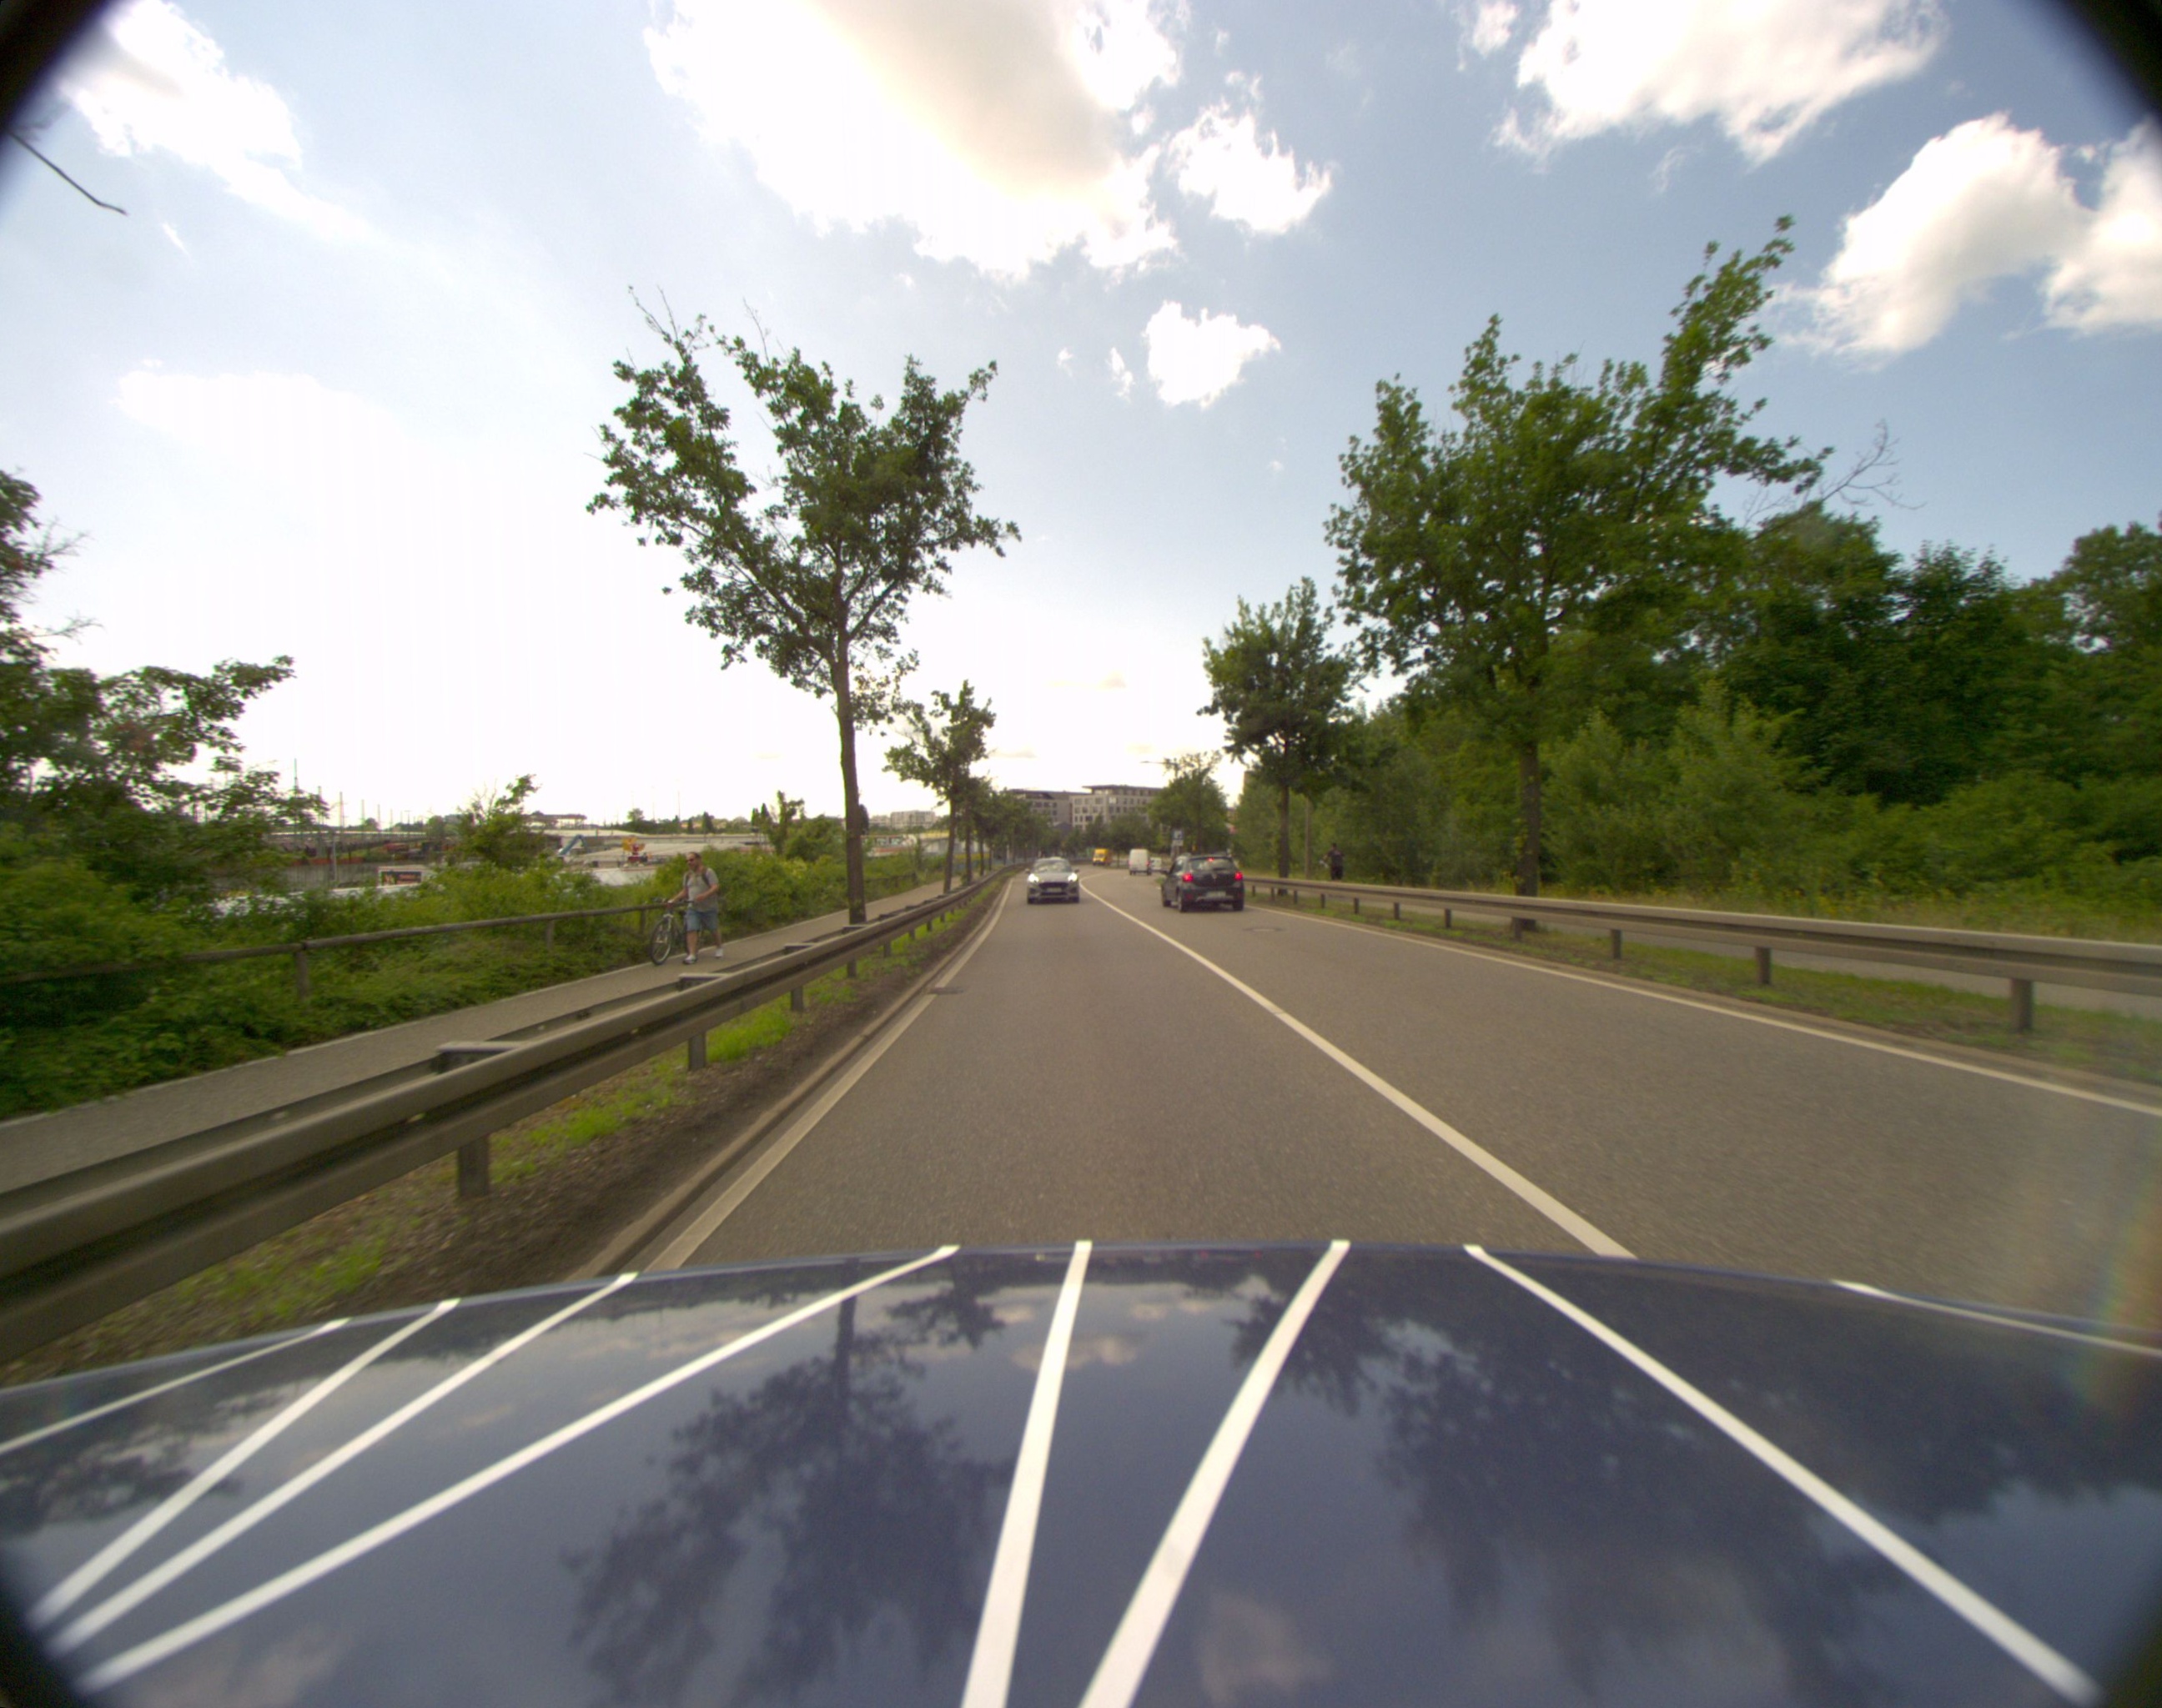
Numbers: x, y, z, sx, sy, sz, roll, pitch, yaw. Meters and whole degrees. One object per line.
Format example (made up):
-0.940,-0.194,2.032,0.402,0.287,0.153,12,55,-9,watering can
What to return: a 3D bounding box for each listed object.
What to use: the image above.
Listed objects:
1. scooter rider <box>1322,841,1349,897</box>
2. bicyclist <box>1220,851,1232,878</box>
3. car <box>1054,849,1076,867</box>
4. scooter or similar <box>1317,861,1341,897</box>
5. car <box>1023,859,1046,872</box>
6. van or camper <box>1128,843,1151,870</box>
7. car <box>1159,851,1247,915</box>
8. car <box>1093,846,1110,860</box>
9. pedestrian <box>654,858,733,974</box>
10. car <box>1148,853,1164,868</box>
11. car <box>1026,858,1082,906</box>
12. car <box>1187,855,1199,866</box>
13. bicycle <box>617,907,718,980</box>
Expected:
8.591,0.497,25.665,0.663,1.845,0.619,1,1,-3,scooter rider
8.121,0.582,42.563,0.486,1.544,0.880,1,1,-3,bicyclist
-1.898,0.508,91.908,1.997,2.002,4.002,3,1,8,car
8.546,0.858,26.190,0.637,1.200,0.559,1,0,-4,scooter or similar
-4.541,1.075,73.206,1.848,1.201,3.997,1,-1,-9,car
6.185,0.239,79.492,1.997,2.567,5.984,-3,0,7,van or camper
3.367,0.753,21.724,1.785,1.597,4.157,-2,0,-1,car
3.604,-0.169,131.294,1.997,2.306,4.891,-2,1,12,car
-5.712,0.883,11.265,0.659,1.632,1.054,0,1,-2,pedestrian
9.610,0.777,97.047,1.779,1.856,5.270,1,0,9,car
-0.972,0.954,27.478,1.828,1.516,3.999,-1,0,-2,car
18.630,1.046,126.165,1.778,1.852,4.128,1,0,9,car
-6.086,1.286,11.292,0.558,0.864,1.825,1,0,-2,bicycle
